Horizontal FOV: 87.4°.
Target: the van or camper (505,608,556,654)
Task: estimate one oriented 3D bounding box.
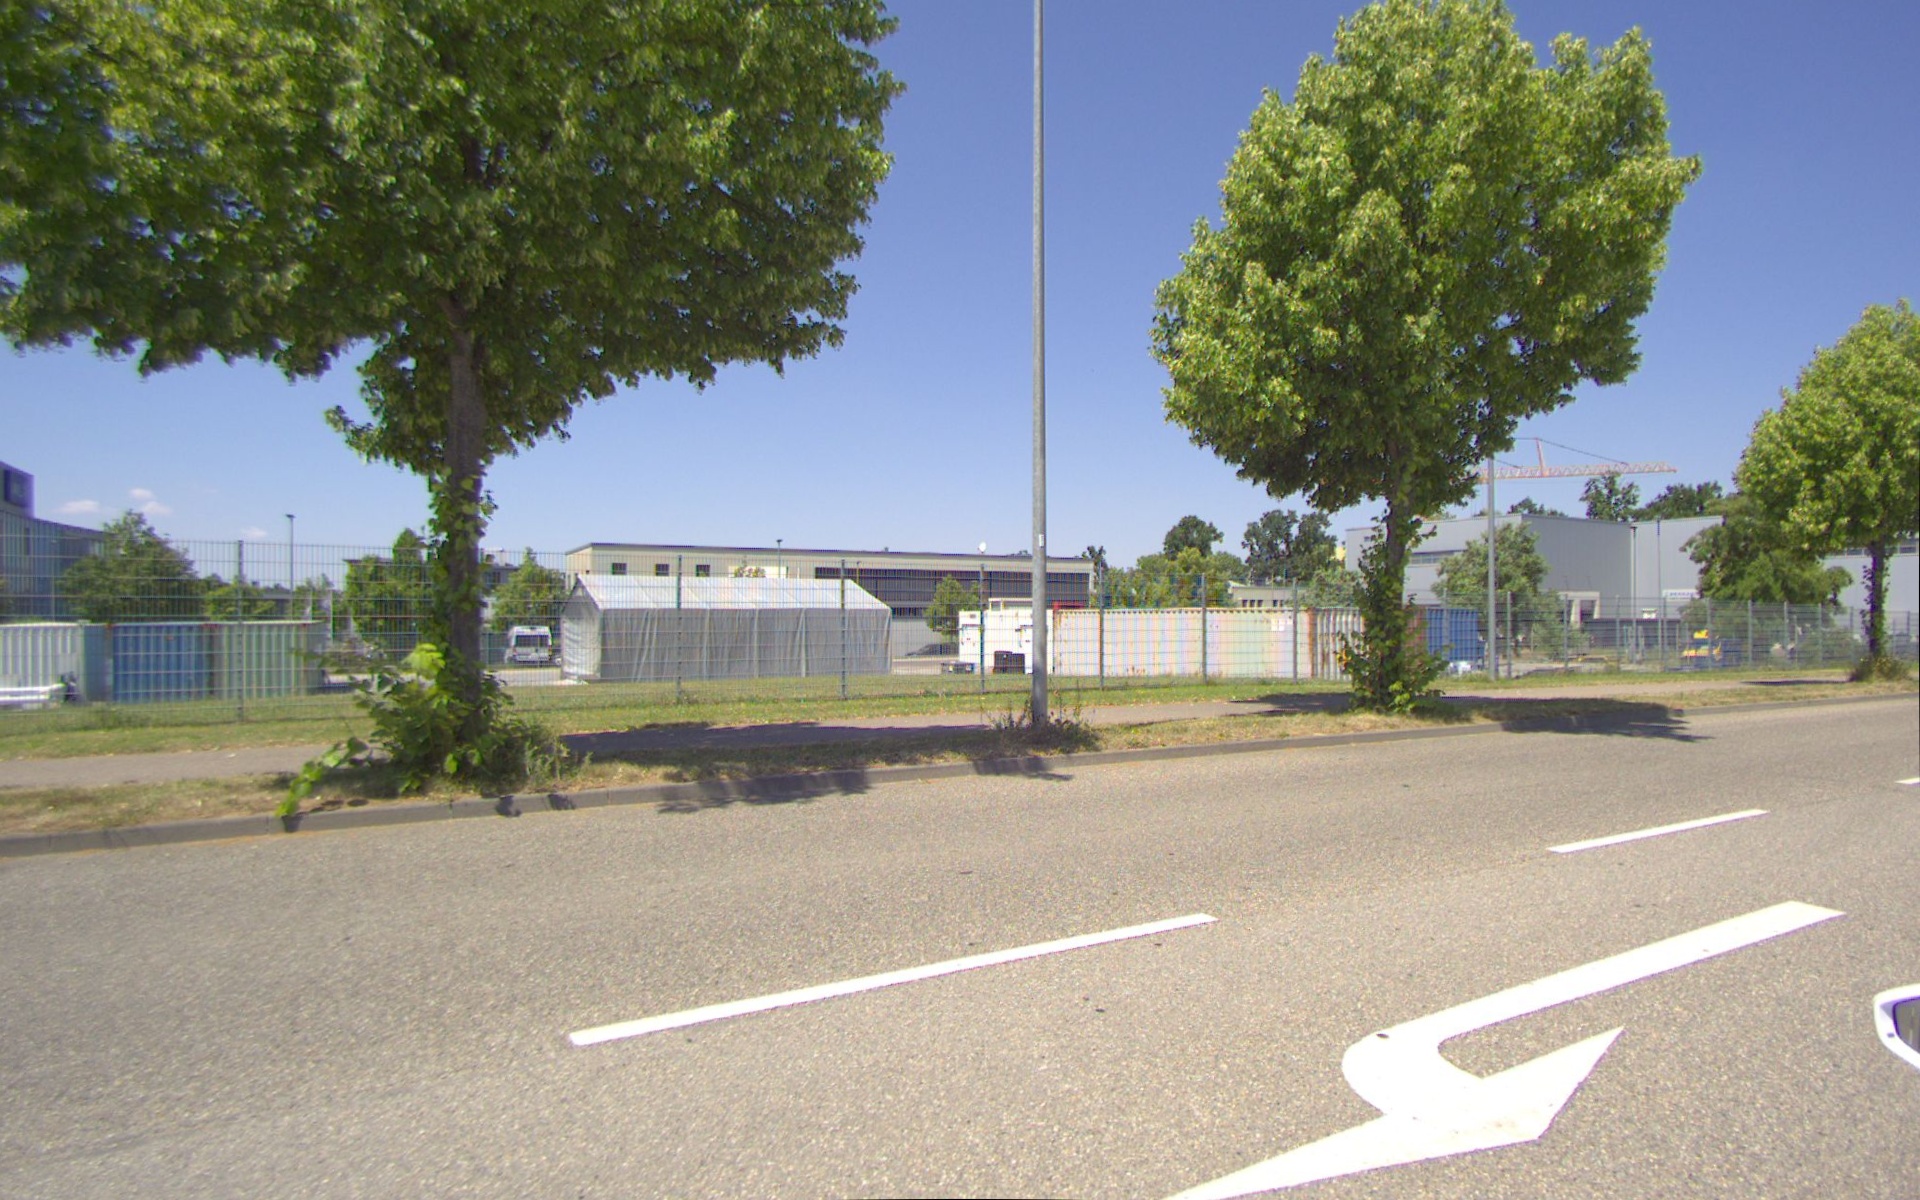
[{"bbox_3d":[-24.007,1.751,56.078,1.976,2.374,4.266,-3,-1,-30],"label":"van or camper"}]

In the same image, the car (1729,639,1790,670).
[{"bbox_3d":[49.256,3.340,61.864,3.963,1.572,1.979,-3,-1,-37],"label":"car"}]

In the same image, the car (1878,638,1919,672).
[{"bbox_3d":[53.007,3.025,56.022,3.963,1.572,1.979,-3,-1,-37],"label":"car"}]

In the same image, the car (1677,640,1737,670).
[{"bbox_3d":[47.476,3.484,63.827,3.963,1.572,1.979,-3,-1,-37],"label":"car"}]
